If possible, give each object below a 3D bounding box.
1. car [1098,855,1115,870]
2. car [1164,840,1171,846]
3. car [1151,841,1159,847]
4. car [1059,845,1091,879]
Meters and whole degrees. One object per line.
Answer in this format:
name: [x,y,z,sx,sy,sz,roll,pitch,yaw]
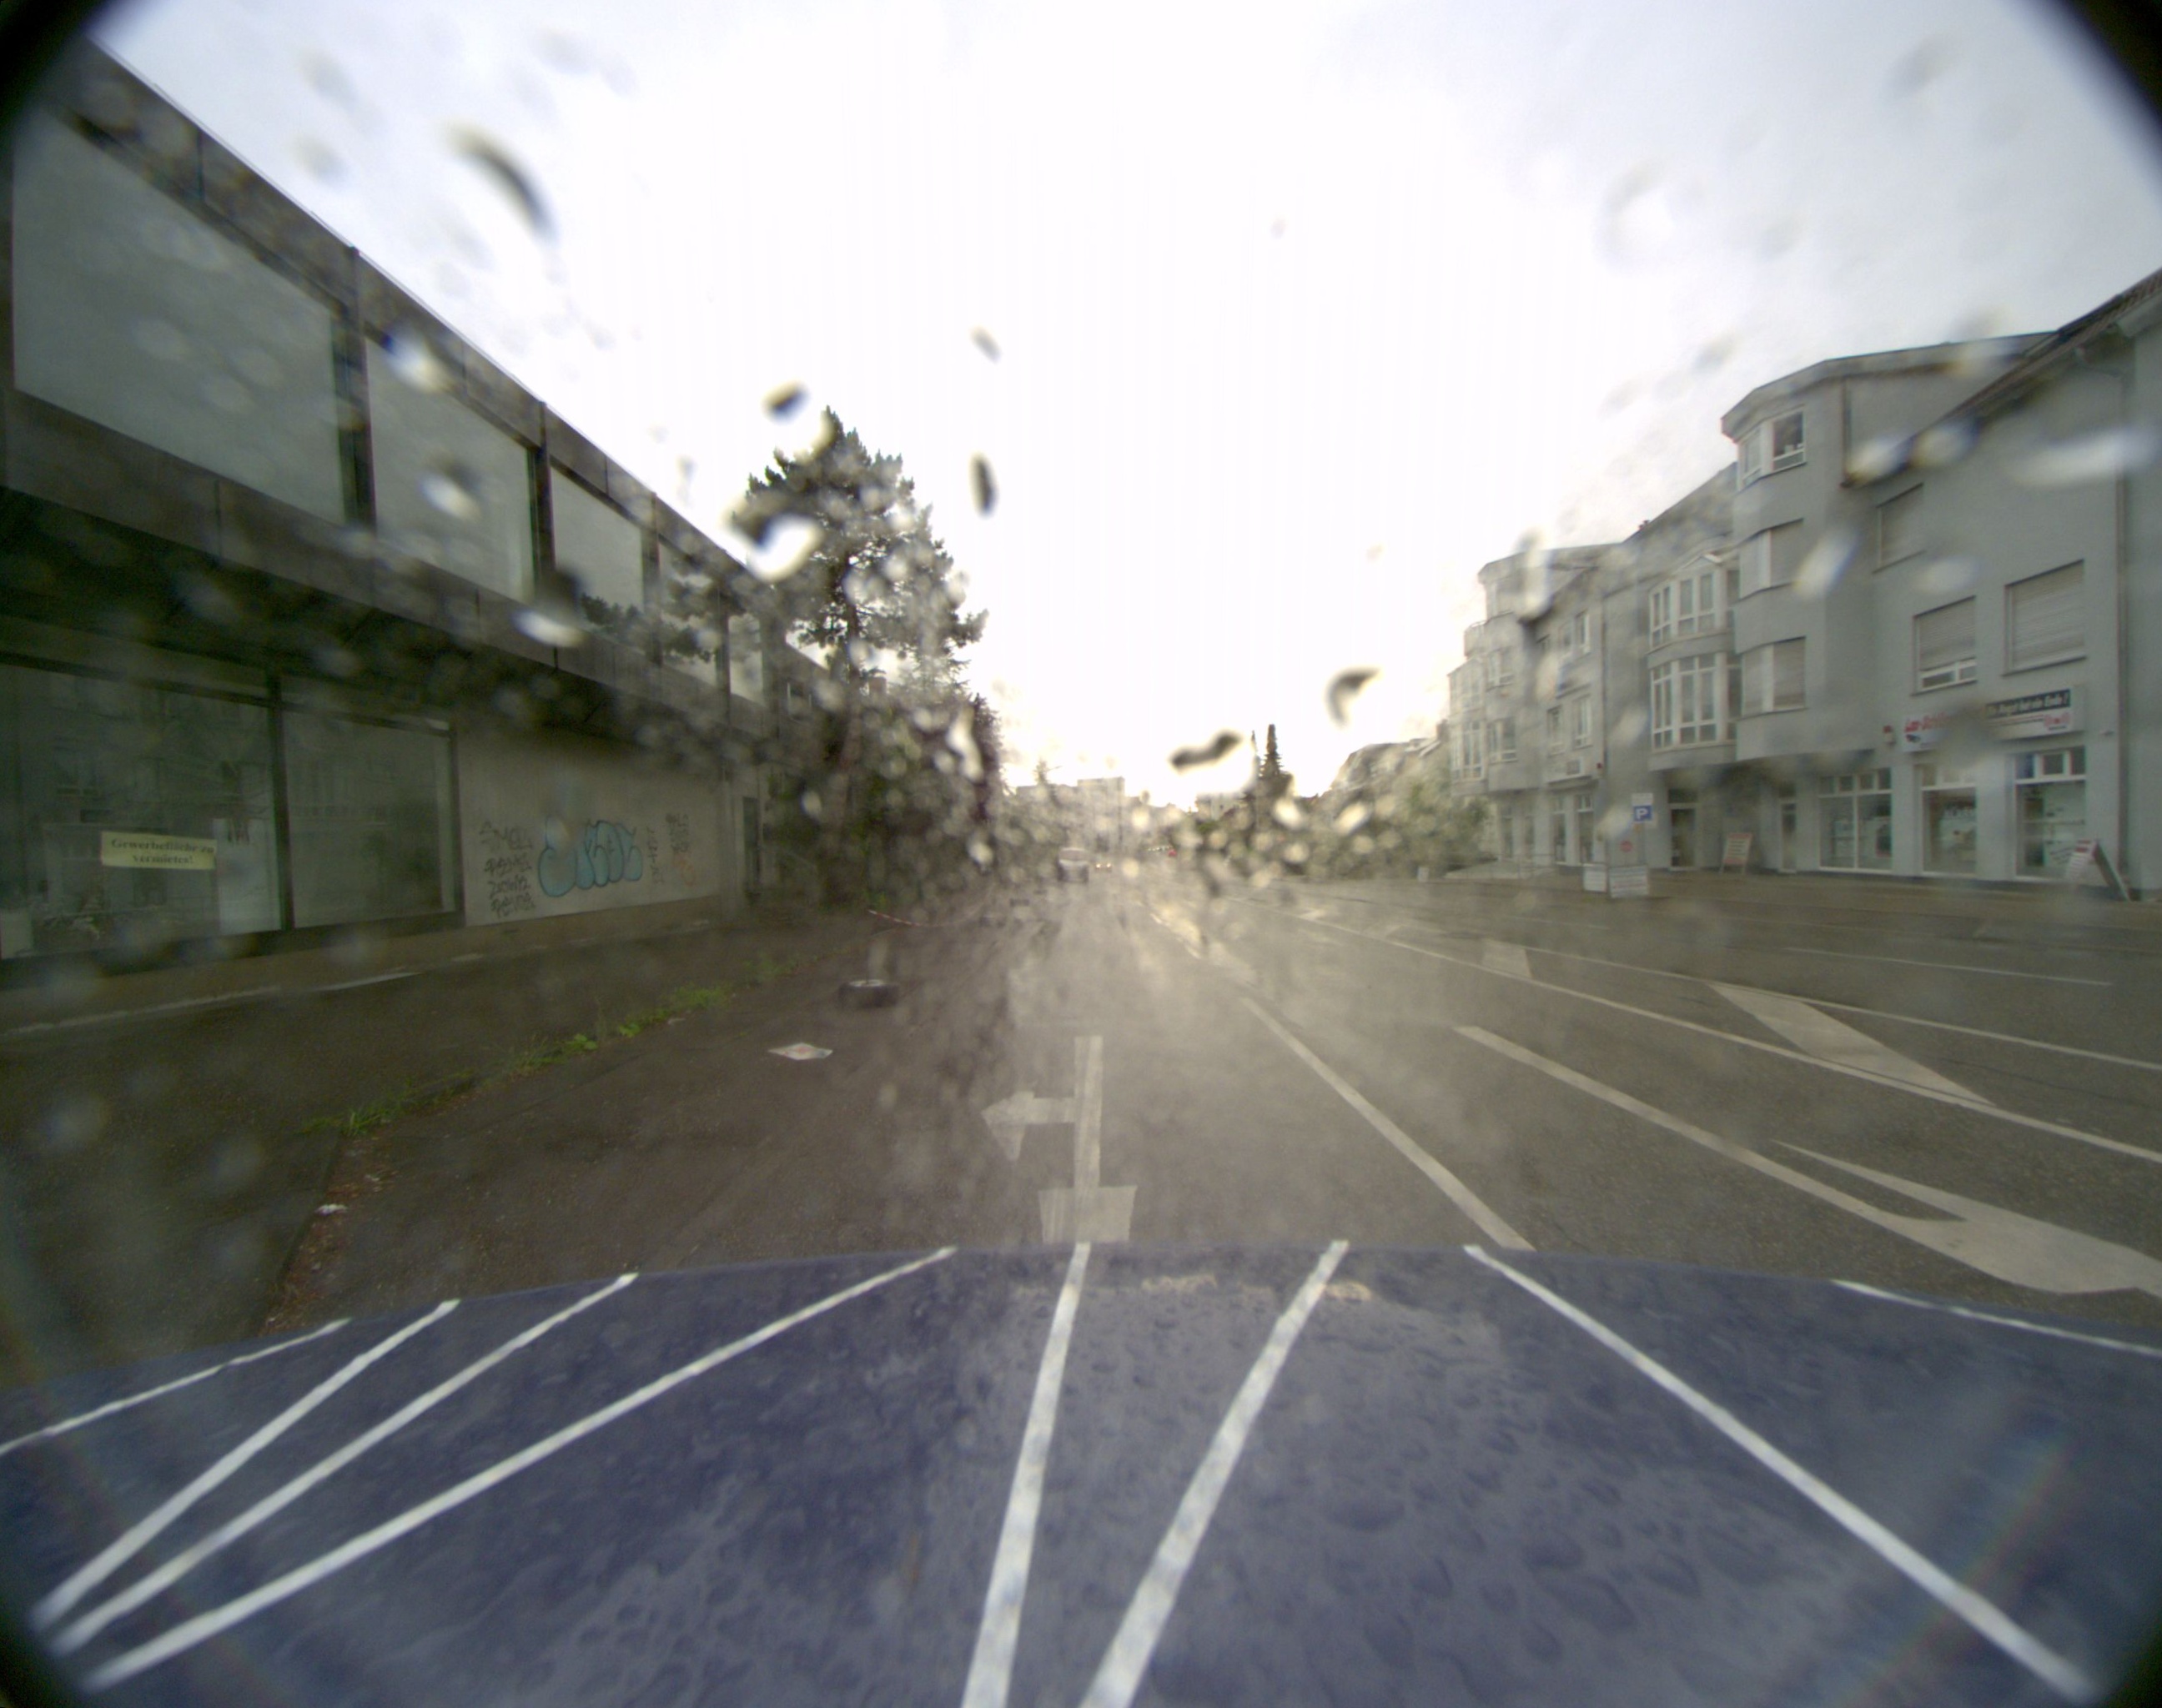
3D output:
car: [2.829,0.881,83.910,1.754,1.534,4.676,-1,1,1]
car: [27.112,-3.444,238.951,1.998,1.774,4.000,-2,1,3]
car: [23.630,-3.340,242.533,1.996,1.808,4.003,-2,1,14]
car: [-0.348,0.468,50.406,1.998,2.072,3.999,-2,1,1]
